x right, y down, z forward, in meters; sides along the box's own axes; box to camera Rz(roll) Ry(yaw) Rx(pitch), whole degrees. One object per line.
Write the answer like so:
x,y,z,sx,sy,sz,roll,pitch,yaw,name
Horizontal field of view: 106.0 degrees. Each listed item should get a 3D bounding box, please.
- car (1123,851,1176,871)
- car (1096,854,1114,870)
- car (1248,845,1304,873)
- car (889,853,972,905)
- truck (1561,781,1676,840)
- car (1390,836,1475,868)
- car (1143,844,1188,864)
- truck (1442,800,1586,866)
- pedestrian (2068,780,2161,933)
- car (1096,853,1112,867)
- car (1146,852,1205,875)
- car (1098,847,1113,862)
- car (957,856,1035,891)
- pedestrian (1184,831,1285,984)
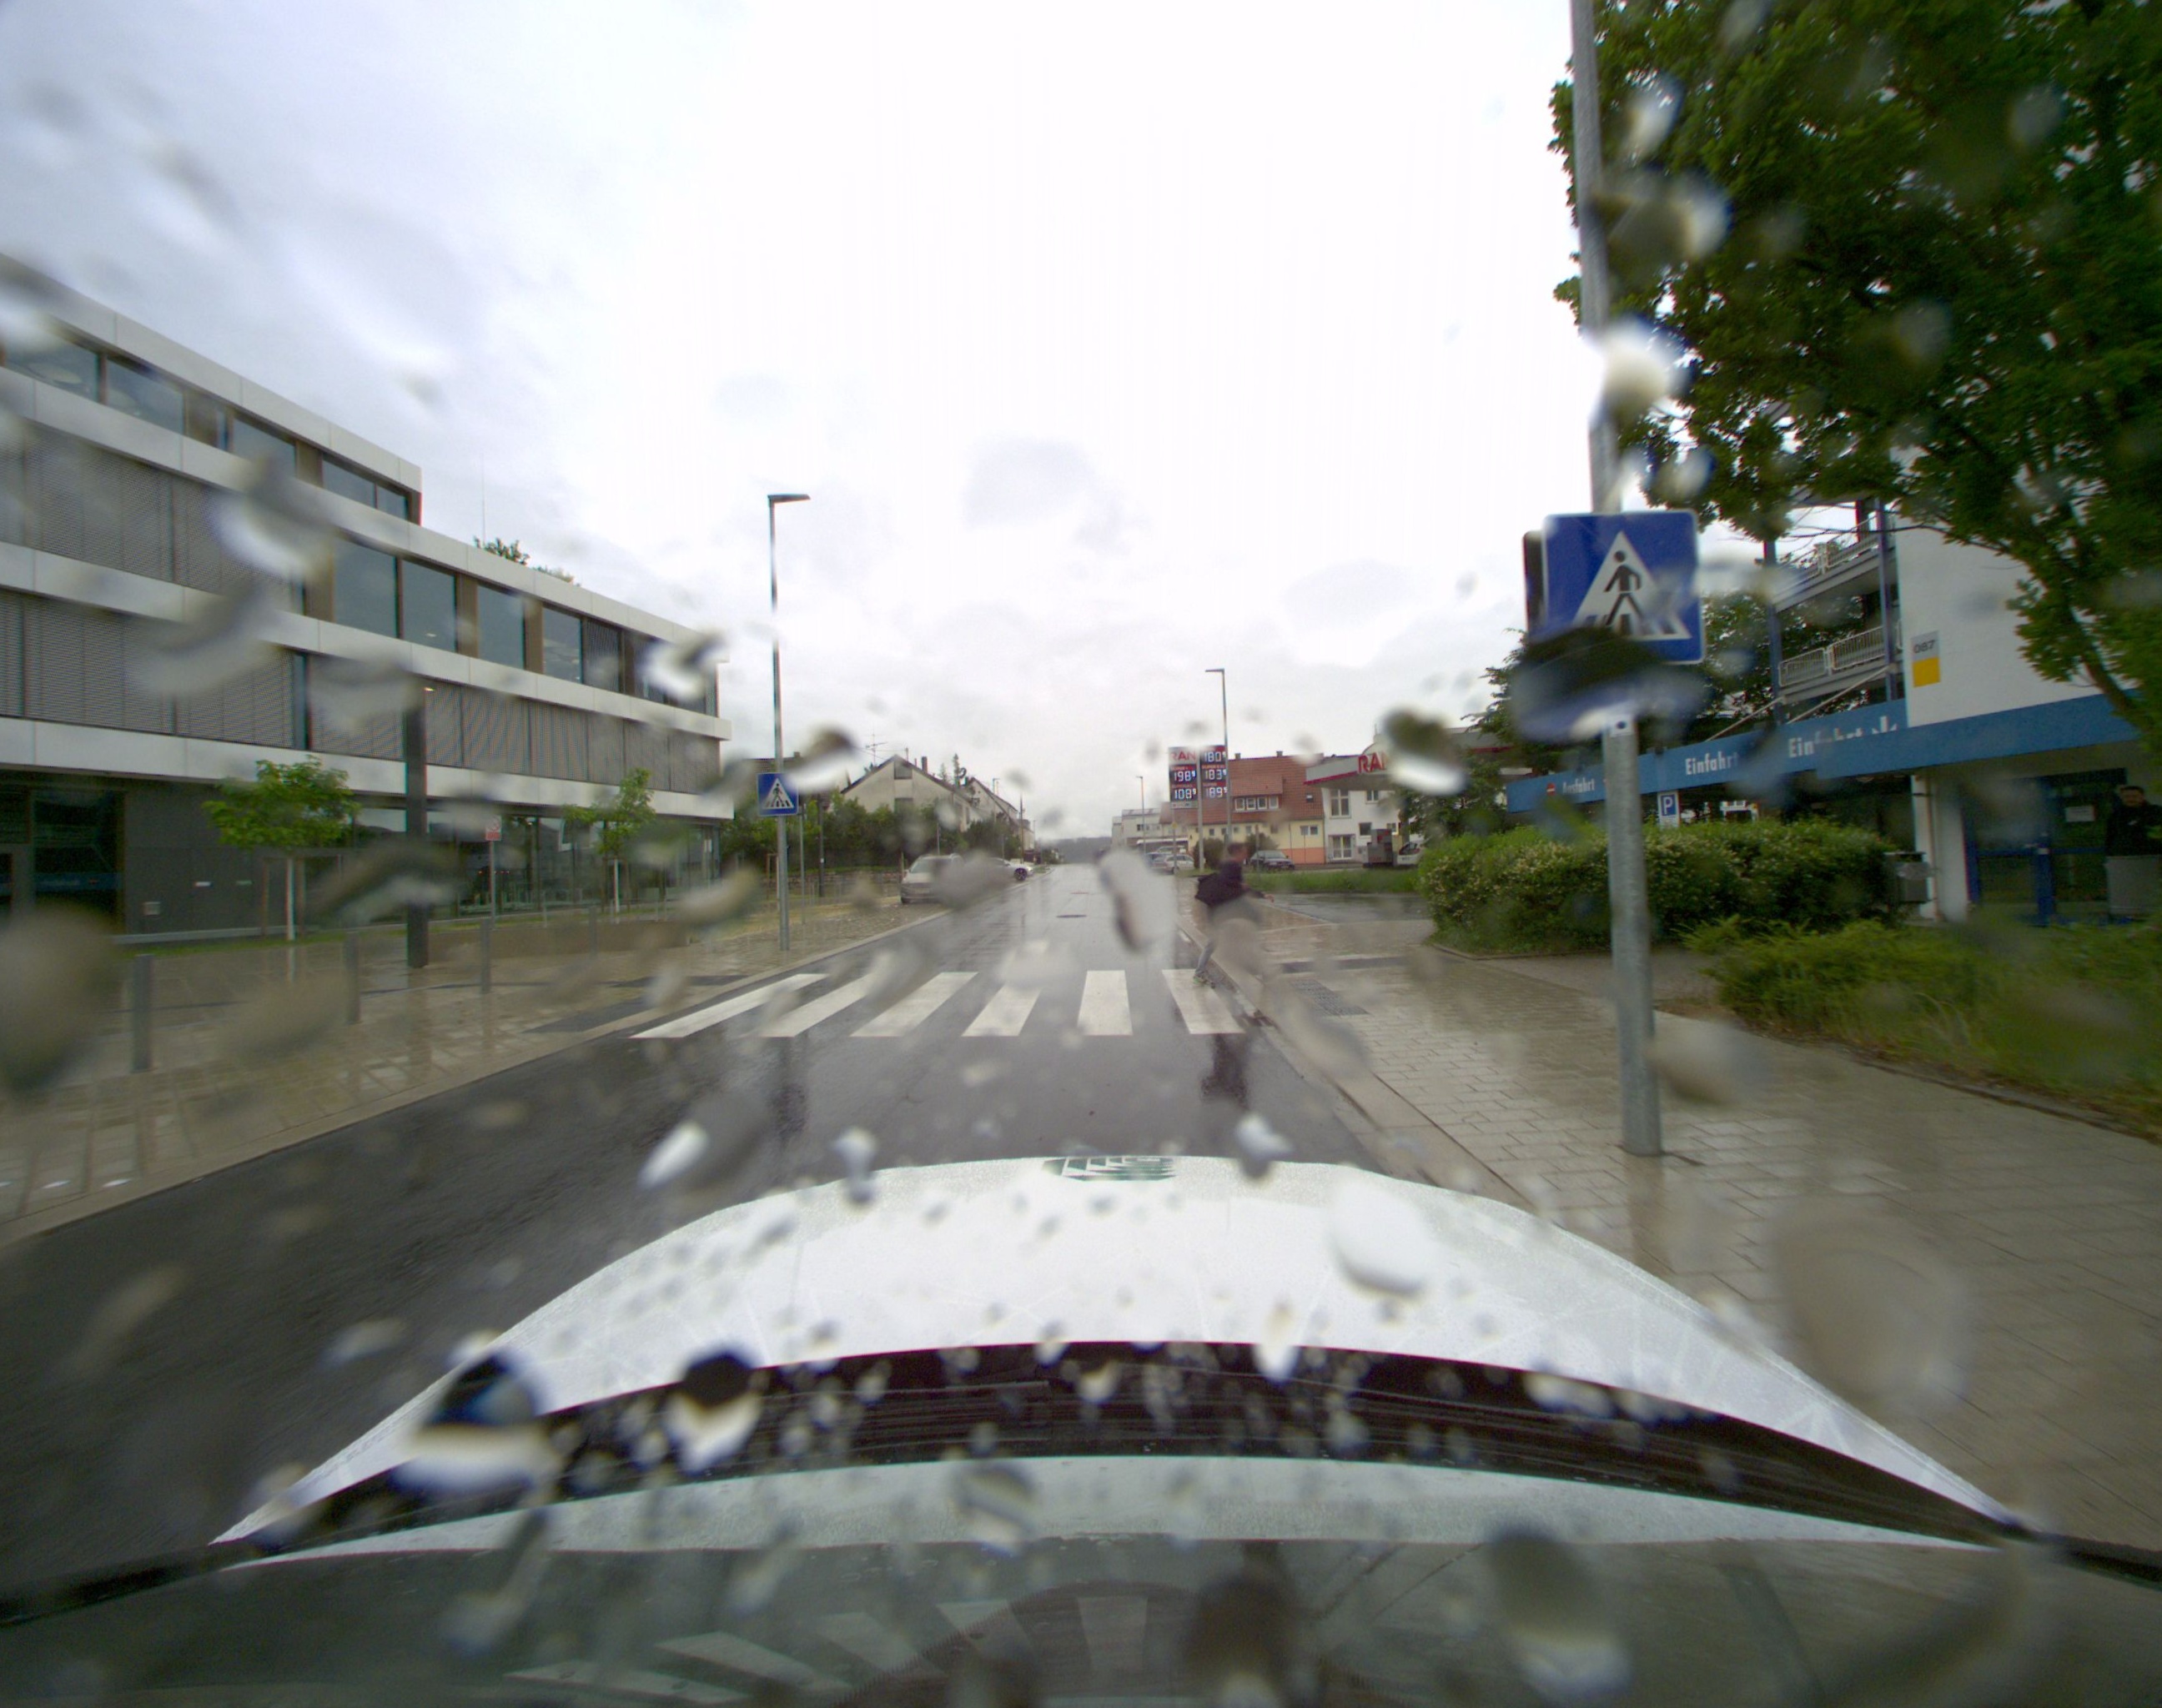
5.606,0.610,66.427,3.955,1.493,1.866,1,-2,18,car
2.760,0.969,94.405,1.986,1.706,4.001,2,-2,2,car
12.012,0.368,50.432,1.993,1.552,3.986,2,-2,-10,car
-5.266,0.828,29.069,1.986,1.629,4.155,-2,0,2,car
22.069,-1.722,33.654,1.989,2.014,3.994,2,-2,-4,truck
17.683,-0.079,40.982,3.526,1.556,1.942,0,-2,-18,car
8.151,-0.017,78.503,4.101,1.706,1.787,2,-2,-2,car
25.443,-1.137,47.915,7.730,3.445,2.667,2,-2,-14,truck
13.064,0.027,10.140,0.567,1.836,0.772,-1,-1,-1,pedestrian
3.002,0.773,107.319,1.986,1.706,4.001,2,-2,2,car
6.904,0.717,59.199,4.017,1.556,1.933,3,-3,-37,car
3.056,0.042,101.186,1.776,1.706,4.001,2,-2,2,car
-5.433,1.272,51.855,4.753,2.014,1.993,2,-2,-10,car
1.804,0.610,9.691,1.010,1.724,0.772,-1,-1,-1,pedestrian
